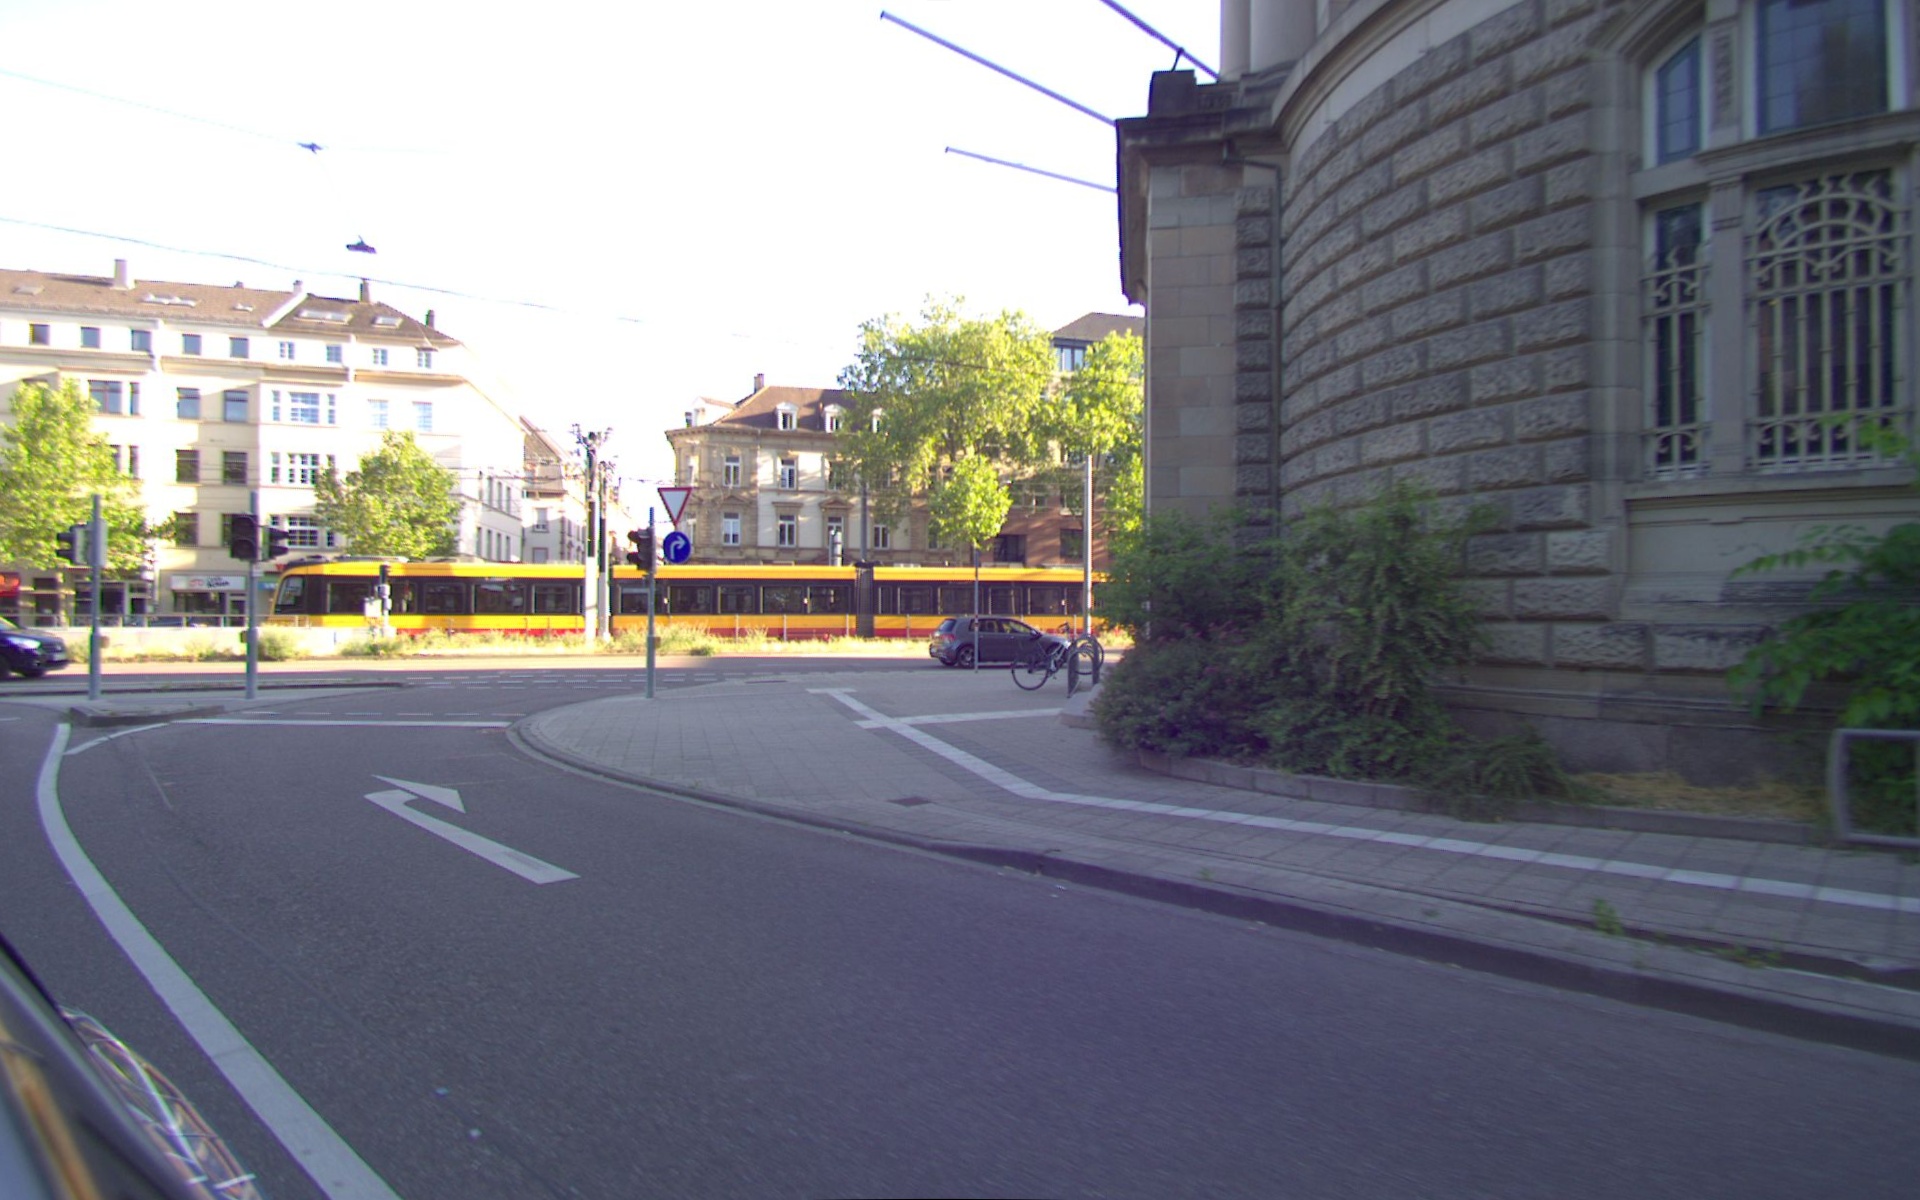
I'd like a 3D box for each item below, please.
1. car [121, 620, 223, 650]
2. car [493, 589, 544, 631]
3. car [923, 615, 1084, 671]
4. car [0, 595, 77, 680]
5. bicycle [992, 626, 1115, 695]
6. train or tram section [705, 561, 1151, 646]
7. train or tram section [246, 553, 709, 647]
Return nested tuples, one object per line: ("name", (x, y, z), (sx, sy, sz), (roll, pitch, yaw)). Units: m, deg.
("car", (-38.587, 1.728, 49.620), (3.647, 1.342, 1.463), (1, 1, -15))
("car", (-25.722, 0.627, 59.142), (2.427, 2.284, 7.315), (1, -1, -22))
("car", (1.213, 1.180, 28.494), (4.172, 1.437, 1.776), (0, 0, -17))
("car", (-21.387, 0.772, 21.112), (4.076, 1.745, 1.776), (0, -1, -17))
("bicycle", (1.717, 1.090, 18.618), (2.212, 1.205, 0.868), (0, -1, 7))
("train or tram section", (-1.326, 0.238, 45.763), (19.612, 3.586, 3.128), (0, -1, -9))
("train or tram section", (-19.421, 0.102, 42.382), (17.186, 3.586, 3.130), (0, -1, -13))
